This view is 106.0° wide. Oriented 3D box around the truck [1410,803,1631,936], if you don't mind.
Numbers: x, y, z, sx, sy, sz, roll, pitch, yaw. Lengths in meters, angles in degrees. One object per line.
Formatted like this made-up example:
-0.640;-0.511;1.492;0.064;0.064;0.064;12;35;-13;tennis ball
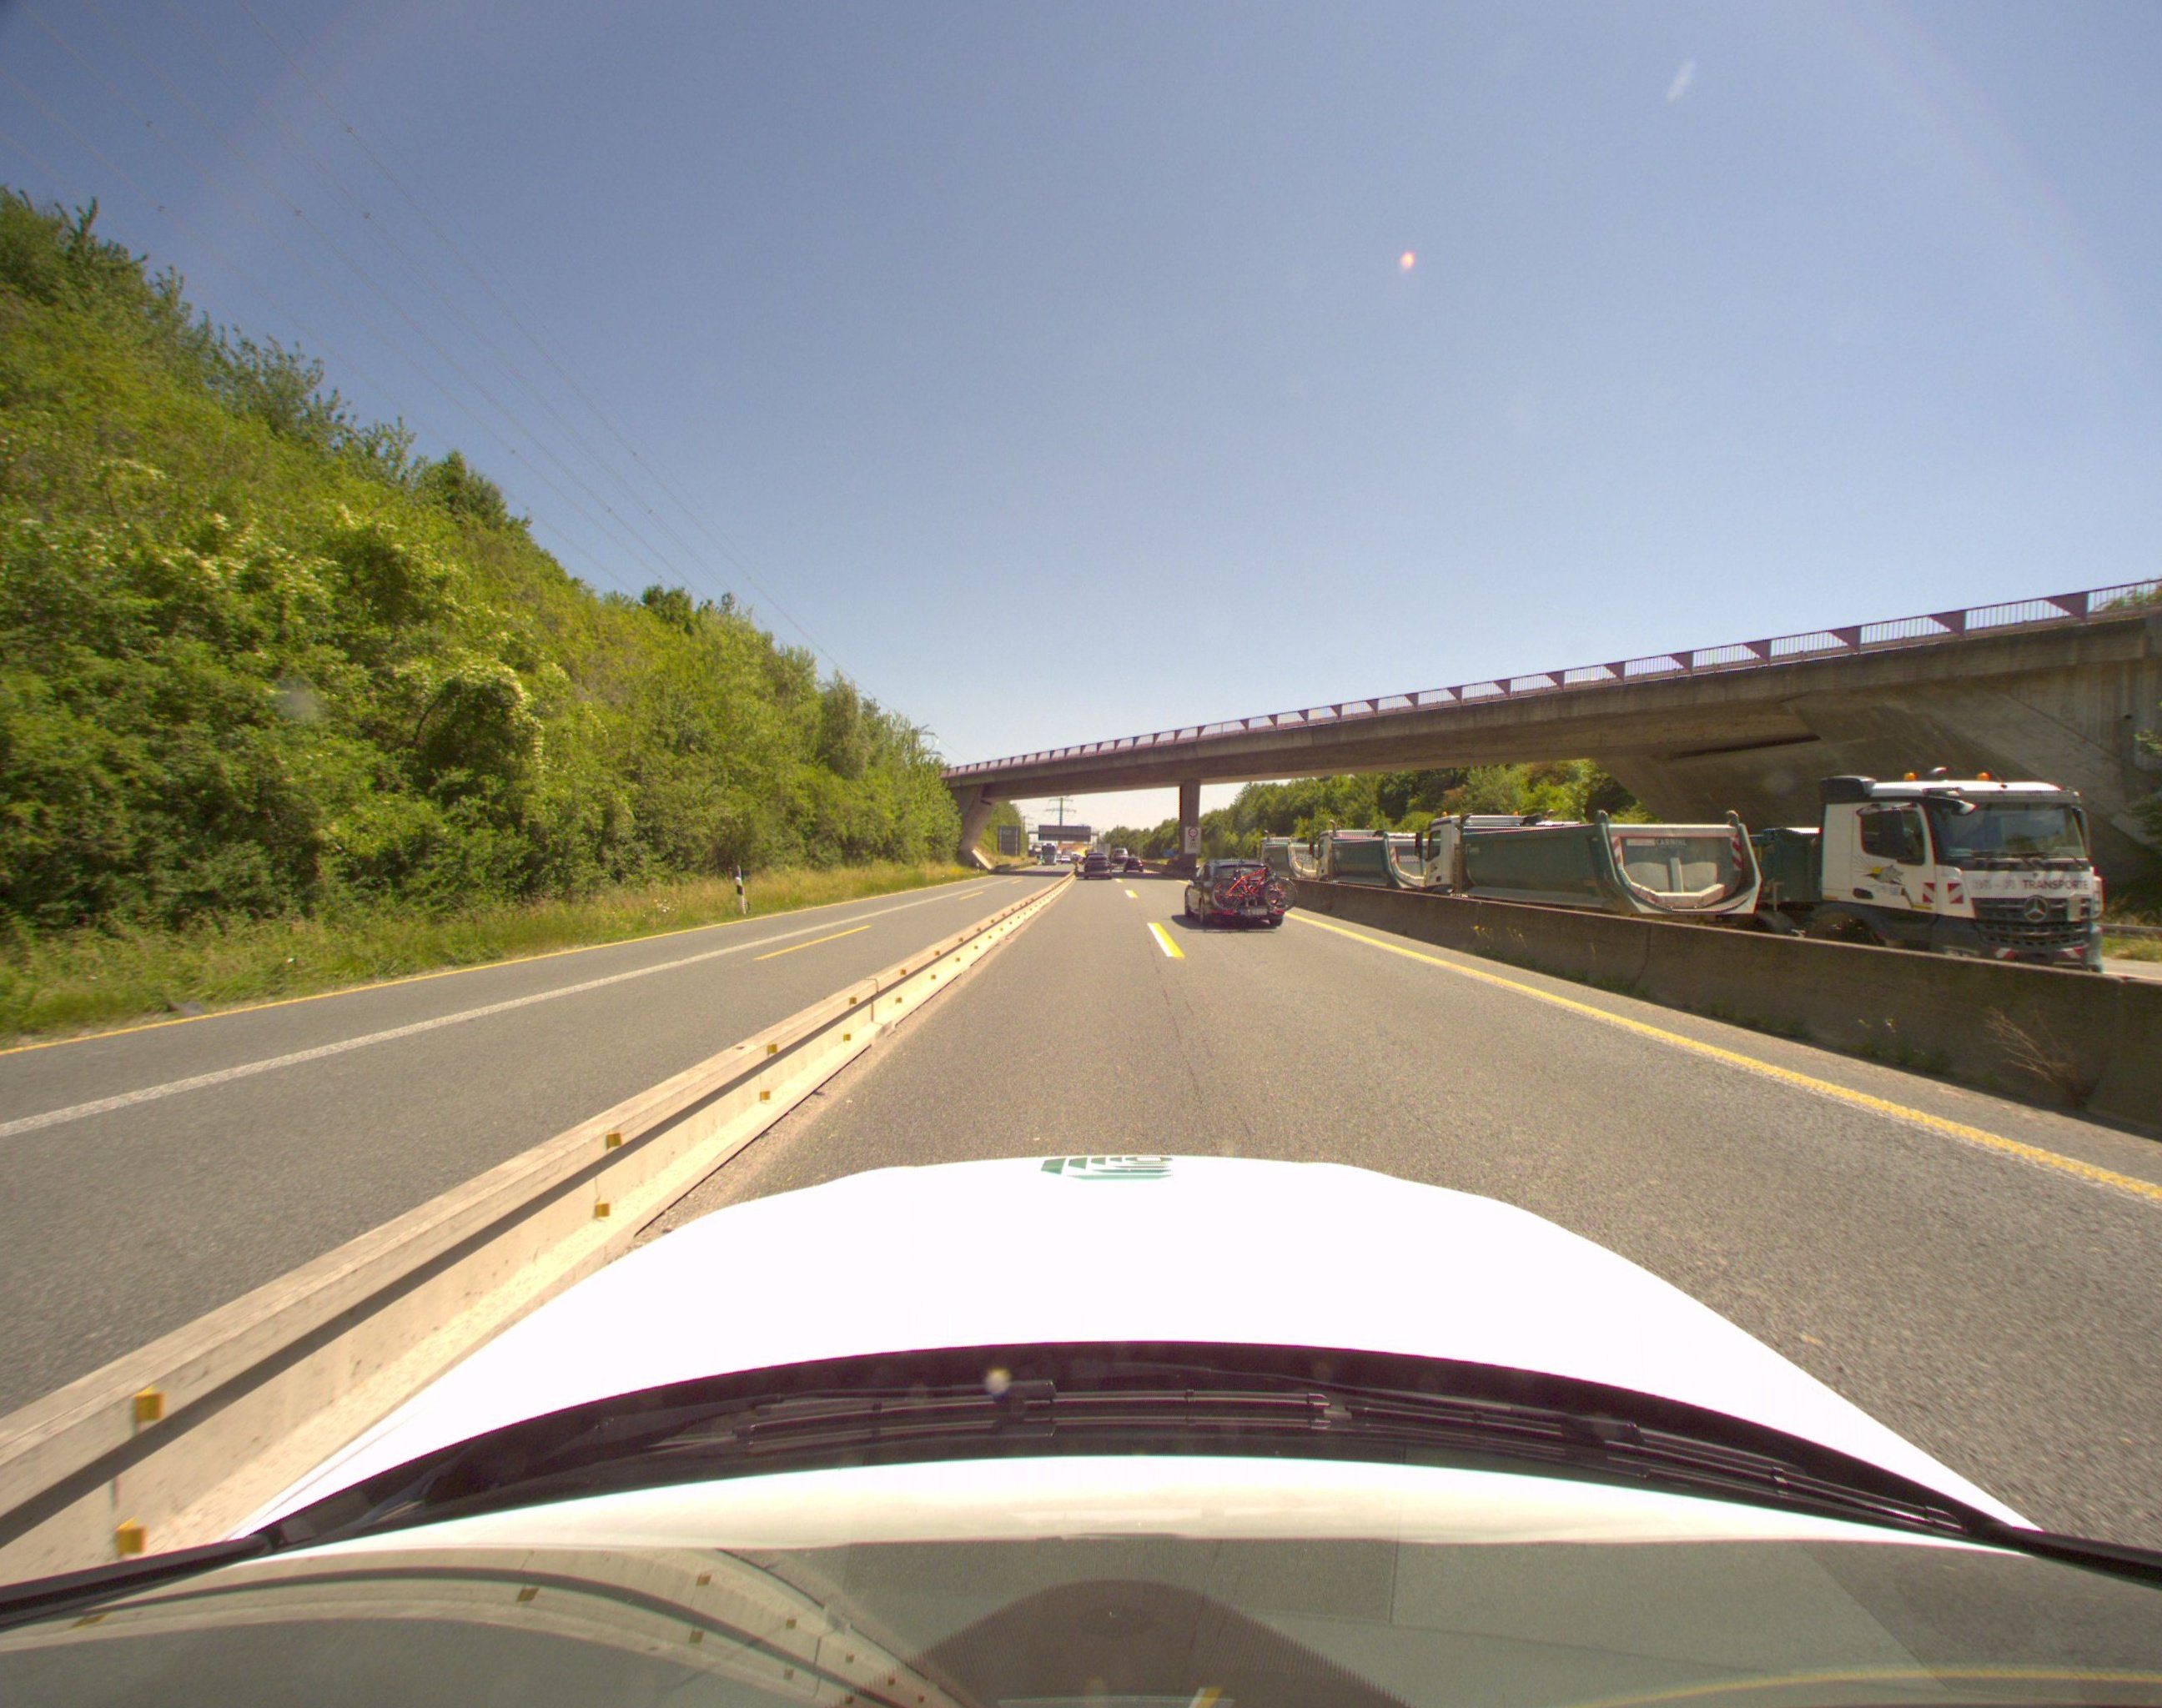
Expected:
14.257;0.448;27.619;2.677;3.727;9.328;0;0;1;truck

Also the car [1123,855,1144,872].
4.947;0.872;77.123;1.891;1.585;4.279;0;0;3;car

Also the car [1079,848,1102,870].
0.895;0.457;74.409;1.891;1.968;4.279;0;0;3;car

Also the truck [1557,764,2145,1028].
13.122;0.580;15.663;2.677;3.557;9.328;0;0;1;truck

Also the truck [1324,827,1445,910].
14.449;0.635;39.724;2.677;3.557;9.328;0;0;1;truck

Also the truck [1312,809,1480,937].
10.821;0.584;29.240;2.677;3.856;9.329;0;0;2;truck

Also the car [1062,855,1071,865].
-2.784;1.110;155.638;1.758;1.838;3.996;0;-1;-3;car

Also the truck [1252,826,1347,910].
11.015;0.660;42.035;2.677;3.843;9.329;0;0;2;truck

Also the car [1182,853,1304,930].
3.464;0.753;18.349;1.892;1.490;4.949;0;-1;2;car

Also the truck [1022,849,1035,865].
-10.872;0.702;168.384;2.502;3.186;10.099;0;0;-3;truck

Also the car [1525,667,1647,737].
25.456;-7.578;41.238;2.269;2.540;4.729;0;-1;-34;car

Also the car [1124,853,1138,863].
7.954;0.575;130.073;1.894;1.585;4.273;0;0;-2;car

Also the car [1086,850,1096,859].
2.289;0.089;188.188;1.895;1.968;4.271;0;0;-3;car

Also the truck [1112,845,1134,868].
4.855;0.248;95.550;2.397;2.558;7.502;0;0;1;truck

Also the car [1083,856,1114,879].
1.204;0.884;54.227;1.891;1.505;4.279;0;0;3;car

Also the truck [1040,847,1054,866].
-5.992;0.483;143.267;2.502;3.186;10.099;0;0;-3;truck

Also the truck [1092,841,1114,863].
4.060;-0.357;152.216;3.284;3.845;10.099;0;0;-3;truck

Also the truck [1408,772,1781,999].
10.375;0.535;18.145;2.677;3.761;9.329;0;0;2;truck
